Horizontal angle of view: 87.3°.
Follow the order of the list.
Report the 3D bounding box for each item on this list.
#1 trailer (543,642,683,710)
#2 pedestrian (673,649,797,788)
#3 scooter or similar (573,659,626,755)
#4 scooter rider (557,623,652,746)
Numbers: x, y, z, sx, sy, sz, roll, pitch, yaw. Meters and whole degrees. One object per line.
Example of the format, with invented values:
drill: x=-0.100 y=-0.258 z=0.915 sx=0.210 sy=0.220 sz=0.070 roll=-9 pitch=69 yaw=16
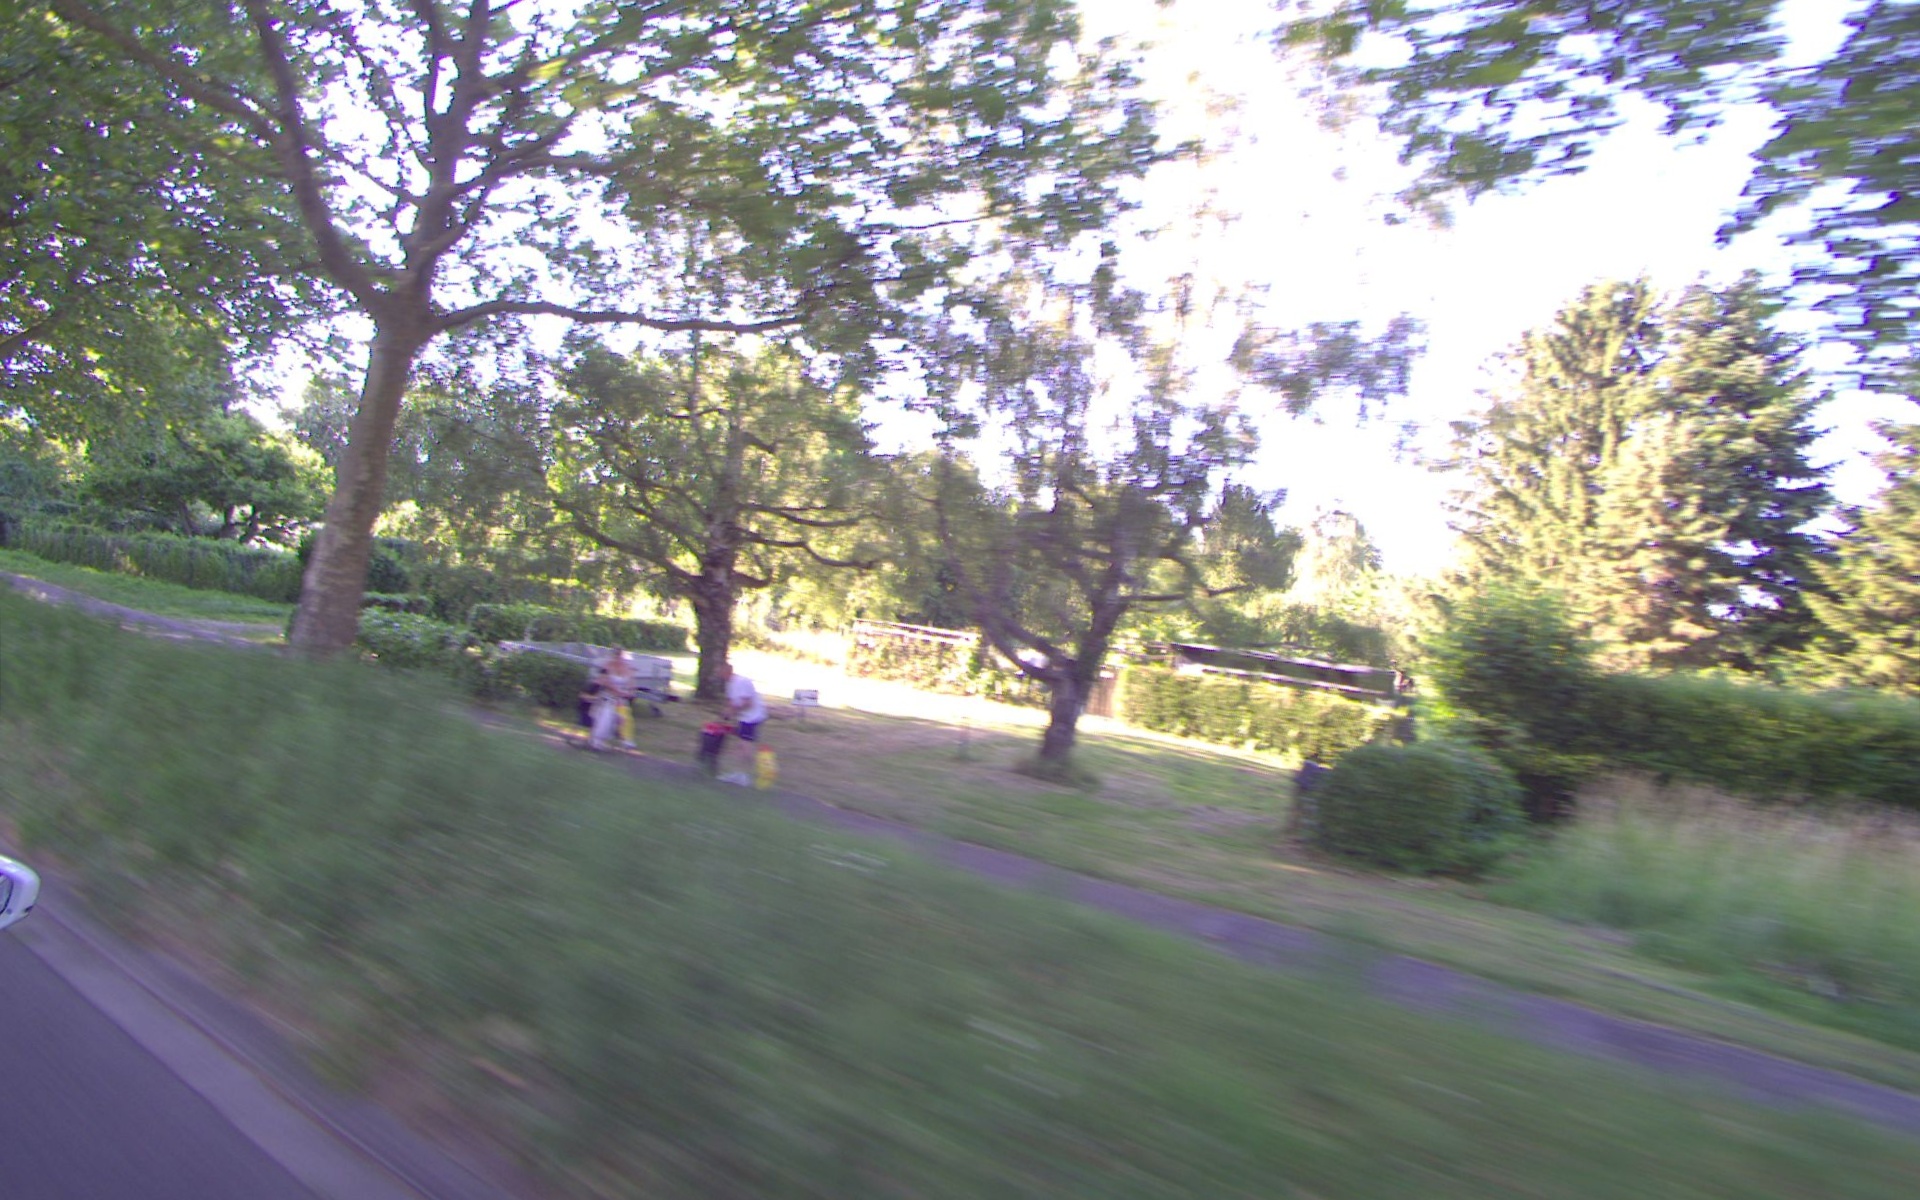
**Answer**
trailer: x=-6.525 y=1.449 z=19.014 sx=1.182 sy=1.064 sz=2.118 roll=6 pitch=-2 yaw=37
pedestrian: x=-2.897 y=1.507 z=13.040 sx=1.184 sy=1.595 sz=0.846 roll=7 pitch=-1 yaw=6
scooter or similar: x=-4.972 y=1.451 z=13.937 sx=0.335 sy=1.148 sz=1.597 roll=7 pitch=-1 yaw=-12
scooter rider: x=-5.004 y=1.185 z=14.204 sx=0.770 sy=1.595 sz=0.846 roll=7 pitch=-1 yaw=14
